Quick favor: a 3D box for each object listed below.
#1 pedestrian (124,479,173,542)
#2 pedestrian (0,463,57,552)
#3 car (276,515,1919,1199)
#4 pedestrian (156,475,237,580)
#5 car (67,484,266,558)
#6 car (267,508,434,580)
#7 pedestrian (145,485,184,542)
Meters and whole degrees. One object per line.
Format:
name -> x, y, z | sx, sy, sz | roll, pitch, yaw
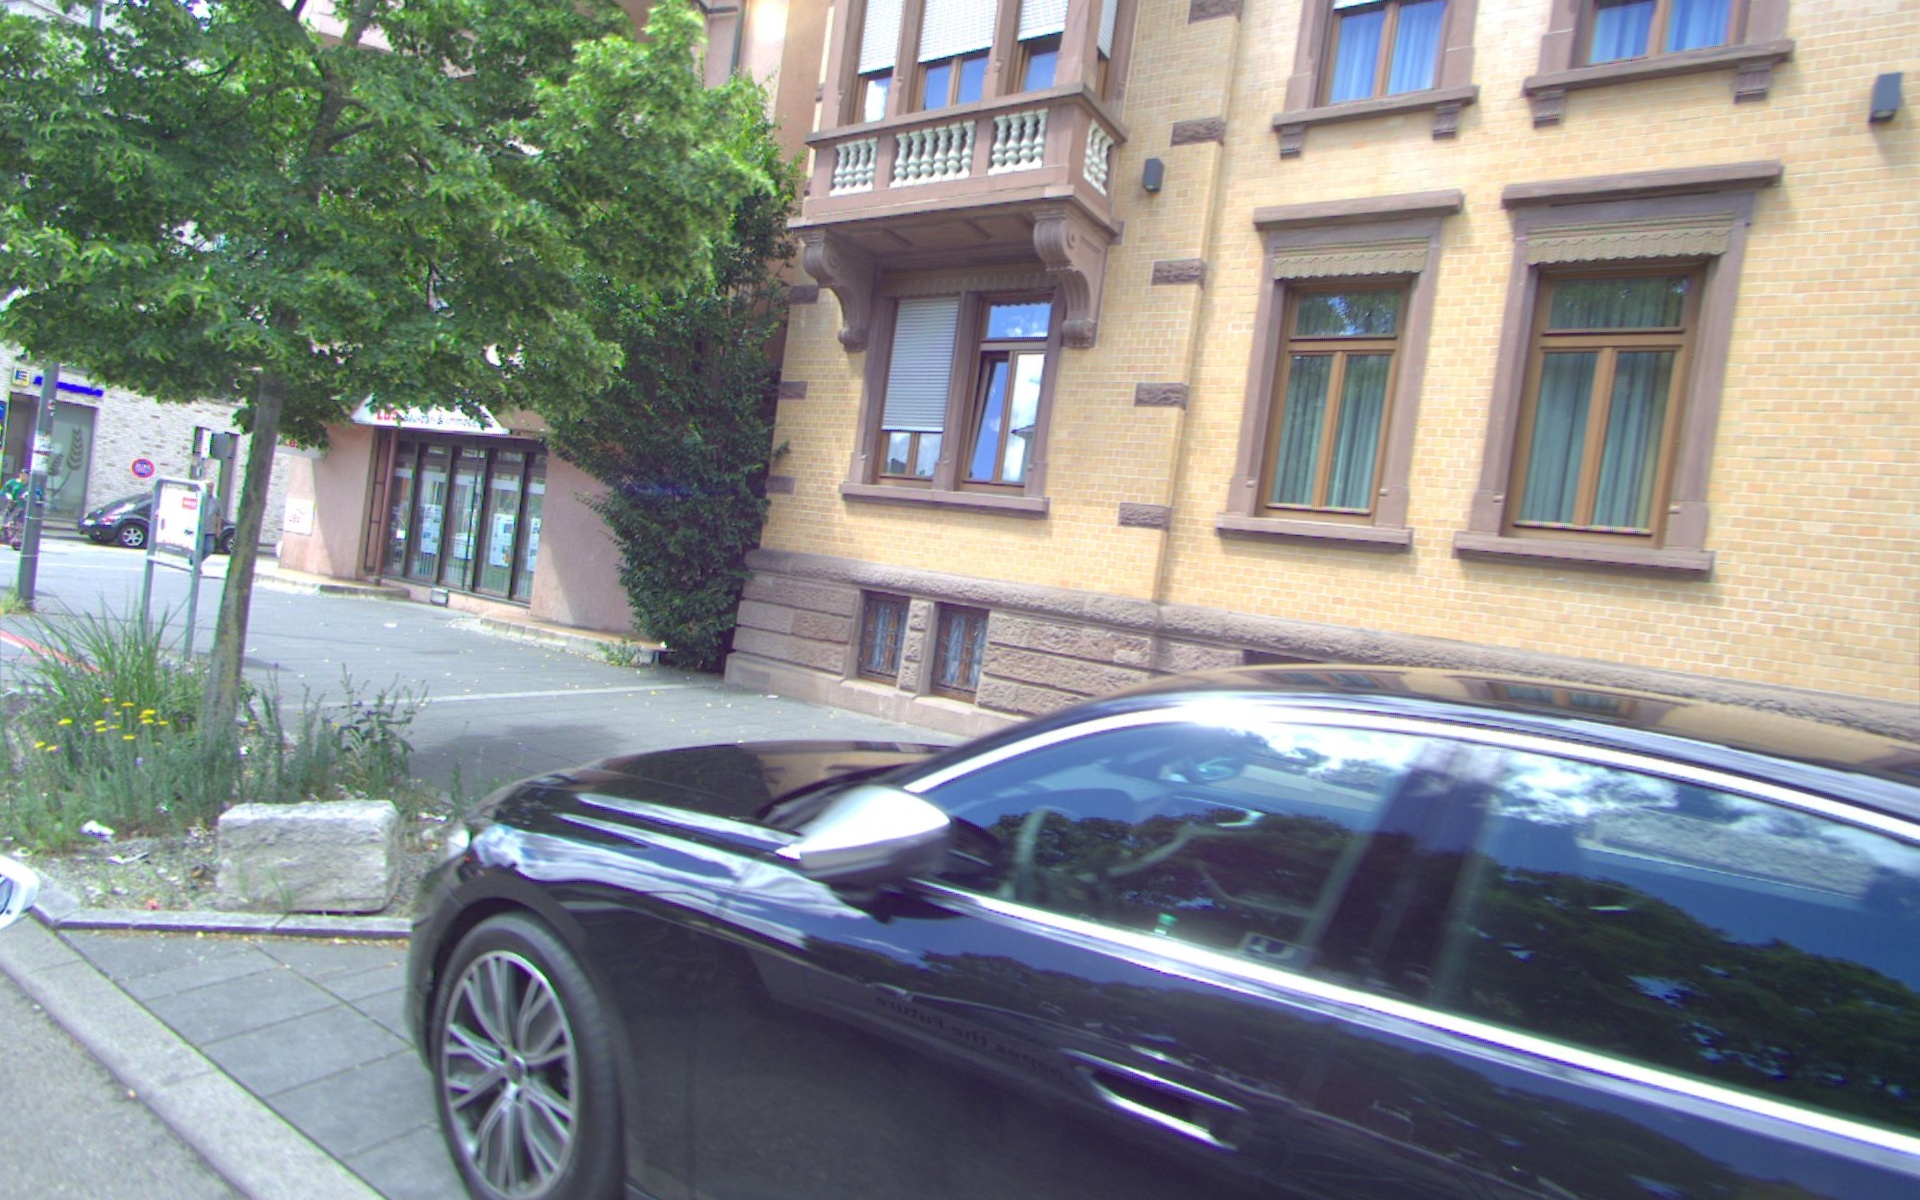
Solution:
pedestrian -> -23.830, -2.616, 29.543 | 0.801, 1.691, 0.555 | 7, 0, -1
pedestrian -> -18.480, -1.818, 19.755 | 0.736, 1.661, 0.922 | 5, 3, -21
car -> 0.708, 0.793, 2.249 | 4.659, 1.431, 1.995 | 7, 1, 33
pedestrian -> -13.397, -1.264, 17.654 | 0.928, 1.707, 0.717 | 6, 2, 29
car -> -21.912, -2.150, 27.949 | 1.751, 1.496, 3.901 | 8, 2, 25
car -> -16.351, -1.466, 27.114 | 1.689, 1.496, 3.383 | 8, 2, 31
pedestrian -> -23.858, -2.578, 30.180 | 0.592, 1.592, 0.522 | 7, 0, -1
